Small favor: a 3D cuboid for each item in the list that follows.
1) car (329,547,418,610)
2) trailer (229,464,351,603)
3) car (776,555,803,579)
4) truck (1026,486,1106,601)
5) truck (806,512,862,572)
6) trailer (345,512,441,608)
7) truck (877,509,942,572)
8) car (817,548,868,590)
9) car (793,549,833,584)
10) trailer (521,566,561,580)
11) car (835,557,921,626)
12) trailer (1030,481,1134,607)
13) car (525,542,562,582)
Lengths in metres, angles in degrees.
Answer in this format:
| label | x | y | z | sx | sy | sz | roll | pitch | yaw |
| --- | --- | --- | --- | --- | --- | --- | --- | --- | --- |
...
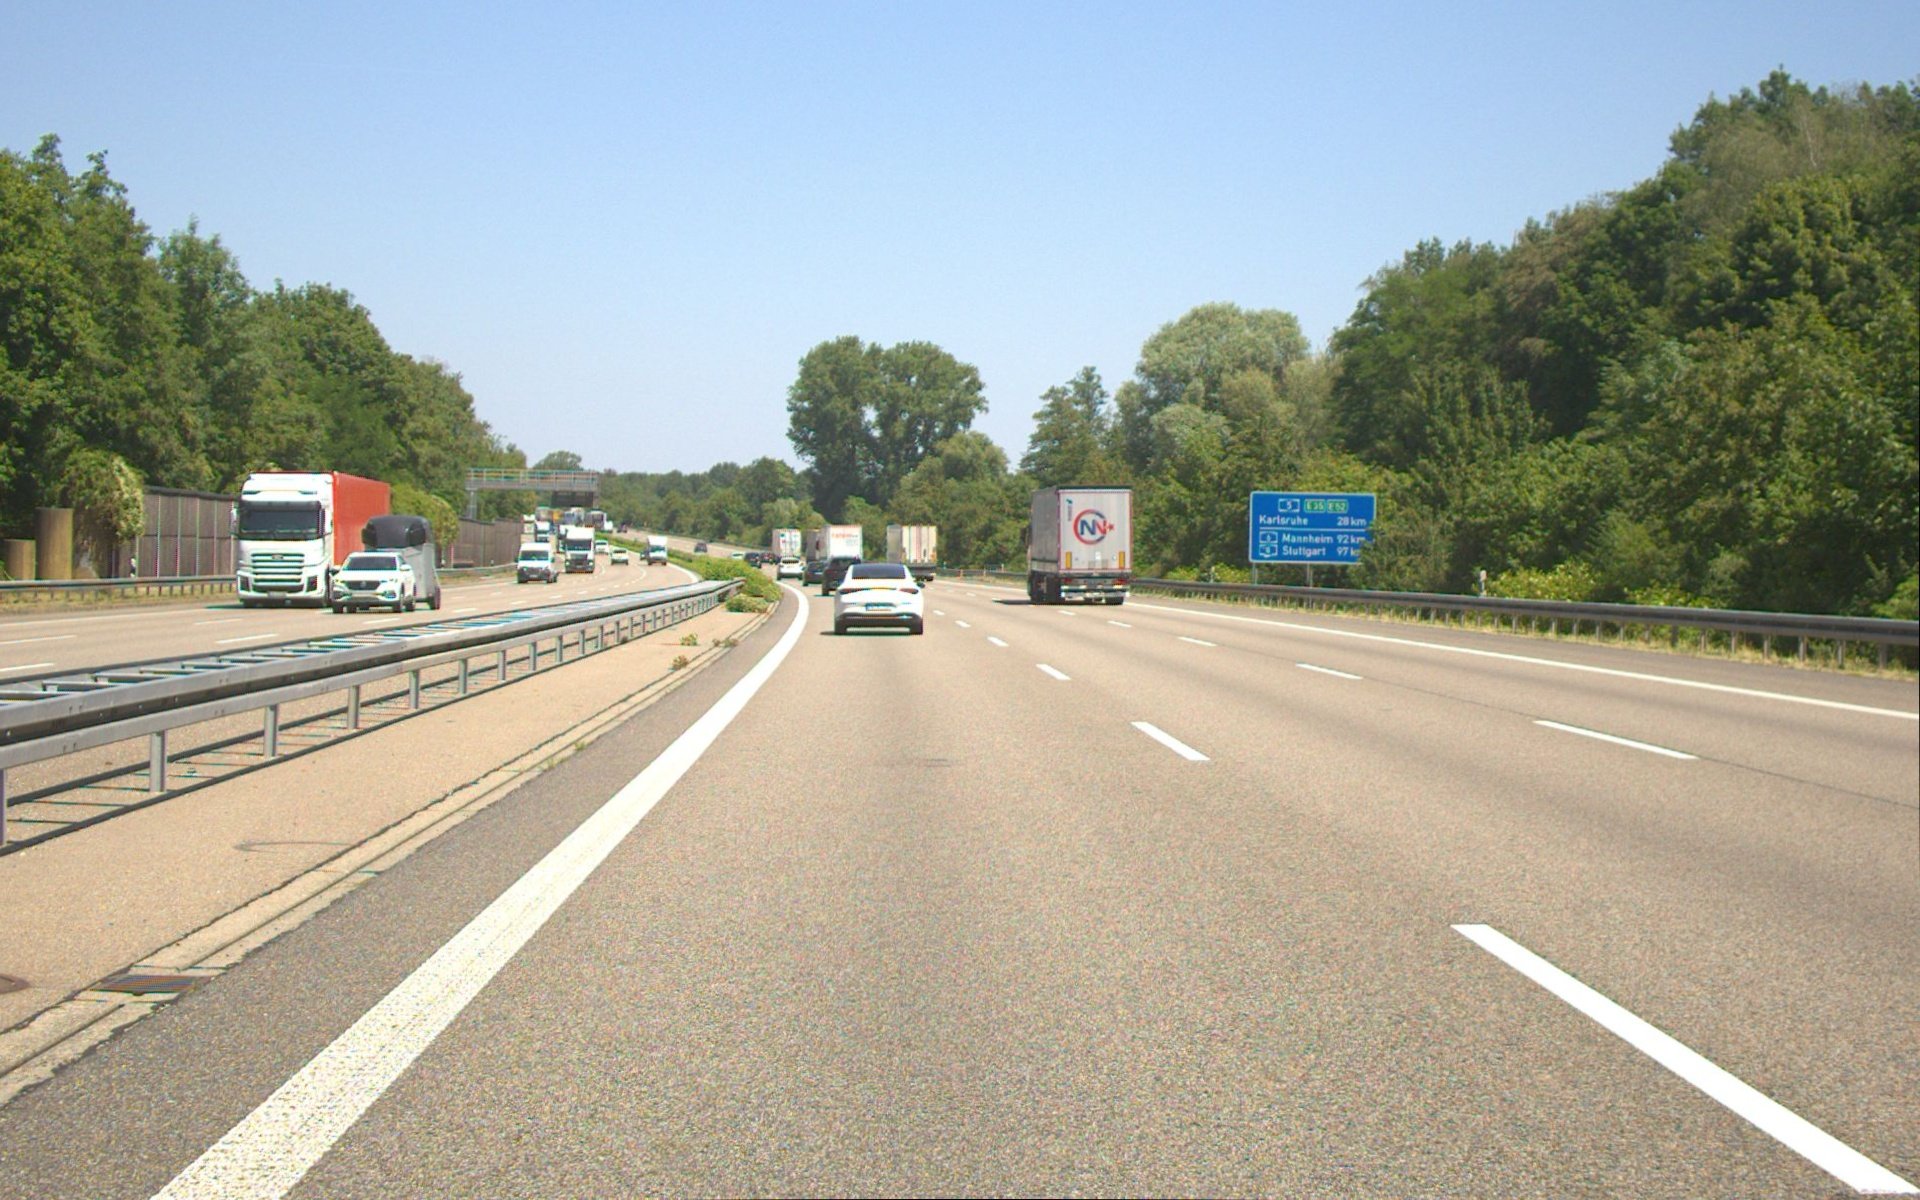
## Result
| label | x | y | z | sx | sy | sz | roll | pitch | yaw |
| --- | --- | --- | --- | --- | --- | --- | --- | --- | --- |
| car | -15.543 | -0.583 | 91.255 | 1.835 | 1.626 | 4.020 | 0 | 1 | -3 |
| trailer | -20.016 | -1.973 | 103.056 | 2.688 | 4.028 | 6.037 | 1 | 1 | -2 |
| car | -12.575 | -2.430 | 253.388 | 1.723 | 1.777 | 4.001 | 0 | 1 | -6 |
| truck | 3.986 | -2.131 | 130.444 | 2.605 | 4.272 | 5.436 | 1 | 1 | -2 |
| truck | -9.402 | -4.309 | 255.686 | 3.359 | 4.296 | 10.831 | 0 | 1 | -6 |
| trailer | -15.766 | -1.116 | 95.748 | 2.085 | 2.604 | 4.957 | 0 | 1 | -3 |
| truck | -3.645 | -4.189 | 243.652 | 3.491 | 4.296 | 10.991 | 0 | 1 | -7 |
| car | -5.068 | -1.353 | 147.805 | 1.993 | 1.766 | 4.001 | 0 | 1 | -5 |
| car | -8.698 | -1.976 | 203.310 | 1.993 | 2.007 | 4.001 | 0 | 1 | -7 |
| trailer | -26.569 | -1.709 | 217.840 | 2.161 | 0.804 | 6.283 | 0 | 1 | -10 |
| car | -1.677 | -0.193 | 70.962 | 1.715 | 1.365 | 3.375 | 0 | 1 | -1 |
| trailer | 4.273 | -1.995 | 123.406 | 2.624 | 4.246 | 14.062 | 1 | 1 | -2 |
| car | -25.708 | -2.360 | 211.975 | 2.023 | 2.423 | 5.414 | 0 | 1 | -9 |
